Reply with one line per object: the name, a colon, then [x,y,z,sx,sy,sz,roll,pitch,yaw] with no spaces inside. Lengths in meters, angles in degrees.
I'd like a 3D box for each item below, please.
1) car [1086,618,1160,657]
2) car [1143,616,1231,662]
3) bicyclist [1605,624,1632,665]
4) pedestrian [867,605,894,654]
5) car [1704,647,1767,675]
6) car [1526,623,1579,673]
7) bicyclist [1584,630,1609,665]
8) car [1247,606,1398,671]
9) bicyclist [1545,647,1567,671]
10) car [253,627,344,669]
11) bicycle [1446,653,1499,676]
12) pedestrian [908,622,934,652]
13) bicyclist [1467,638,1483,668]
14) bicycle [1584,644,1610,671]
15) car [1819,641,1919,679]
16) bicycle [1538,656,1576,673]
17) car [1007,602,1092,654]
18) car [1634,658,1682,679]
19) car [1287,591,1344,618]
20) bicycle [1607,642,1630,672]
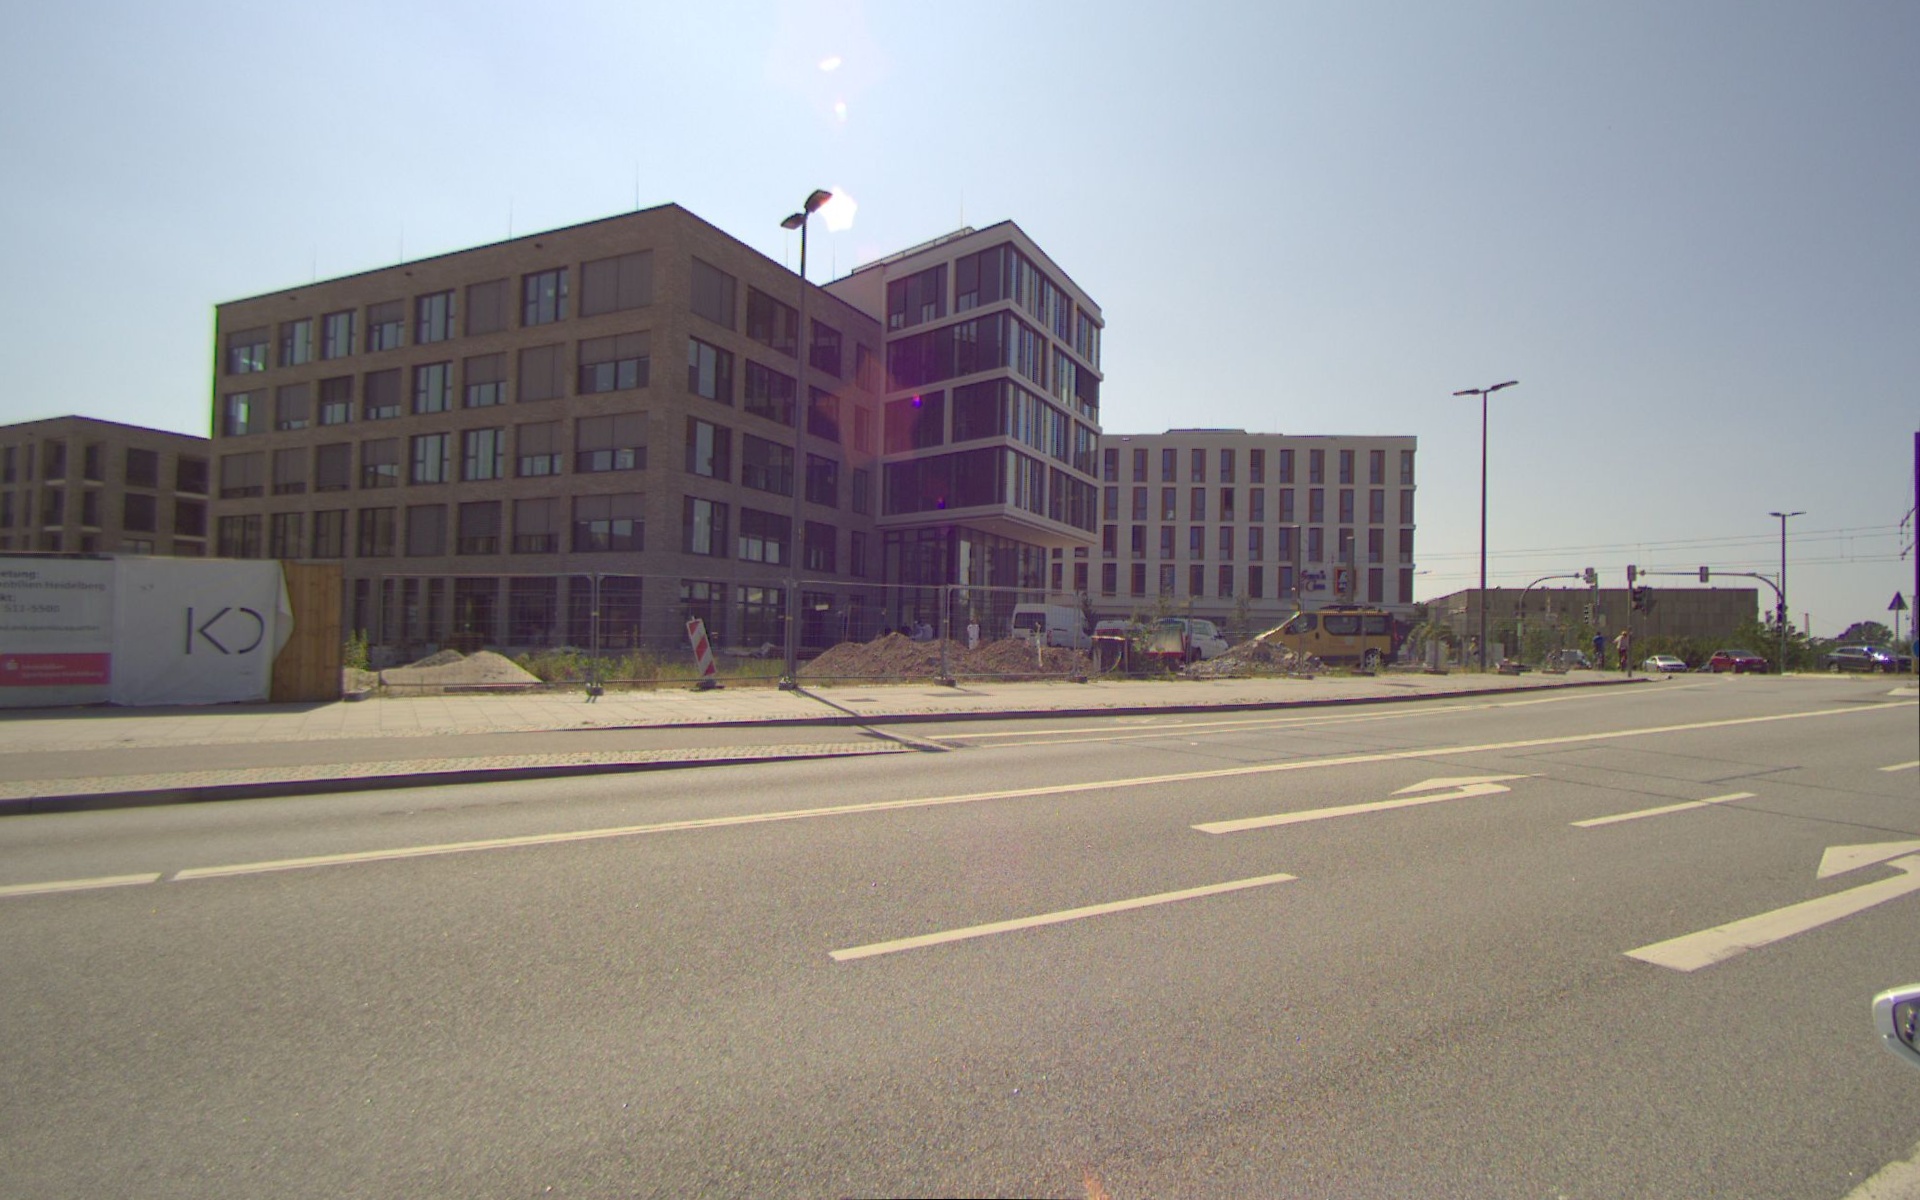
car: [7.157,1.611,43.720,1.773,1.528,3.991,2,0,31]
car: [9.571,1.626,42.168,1.969,1.730,4.546,2,0,35]
bicyclist: [26.959,1.813,41.117,0.809,1.589,0.945,2,0,37]
pedestrian: [-3.433,1.251,43.325,0.949,2.040,0.940,2,0,-17]
car: [49.678,3.882,64.402,1.650,1.475,4.002,2,0,13]
car: [26.317,2.095,44.689,1.644,2.040,3.996,2,0,26]
bicyclist: [29.558,2.184,46.631,0.847,1.580,0.824,2,0,26]
car: [12.085,1.258,33.765,4.395,1.915,2.001,2,0,8]
bicyclist: [29.846,2.940,50.298,0.716,1.190,0.659,1,-3,-2]
car: [-30.431,2.182,46.222,3.708,1.675,1.834,2,0,26]
bicycle: [27.187,3.416,53.294,2.469,1.020,0.604,2,-3,32]
pedestrian: [-1.926,1.817,49.398,1.099,1.391,0.742,2,0,-17]
bicyclist: [27.400,2.797,53.409,0.647,1.522,0.842,2,0,31]
bicycle: [29.622,2.659,46.729,0.715,1.149,2.530,3,-1,26]
car: [48.683,3.163,53.747,1.684,1.764,4.211,2,0,-2]
bicycle: [29.927,3.216,50.356,0.506,0.701,2.253,1,-1,-1]
car: [4.020,1.234,44.658,2.175,2.083,4.164,2,0,30]
car: [52.401,5.128,75.453,1.736,1.350,3.716,2,0,15]
car: [28.994,0.380,81.989,1.986,2.040,3.949,2,0,-43]
bicycle: [26.910,2.326,41.042,0.666,1.142,2.357,2,0,36]
